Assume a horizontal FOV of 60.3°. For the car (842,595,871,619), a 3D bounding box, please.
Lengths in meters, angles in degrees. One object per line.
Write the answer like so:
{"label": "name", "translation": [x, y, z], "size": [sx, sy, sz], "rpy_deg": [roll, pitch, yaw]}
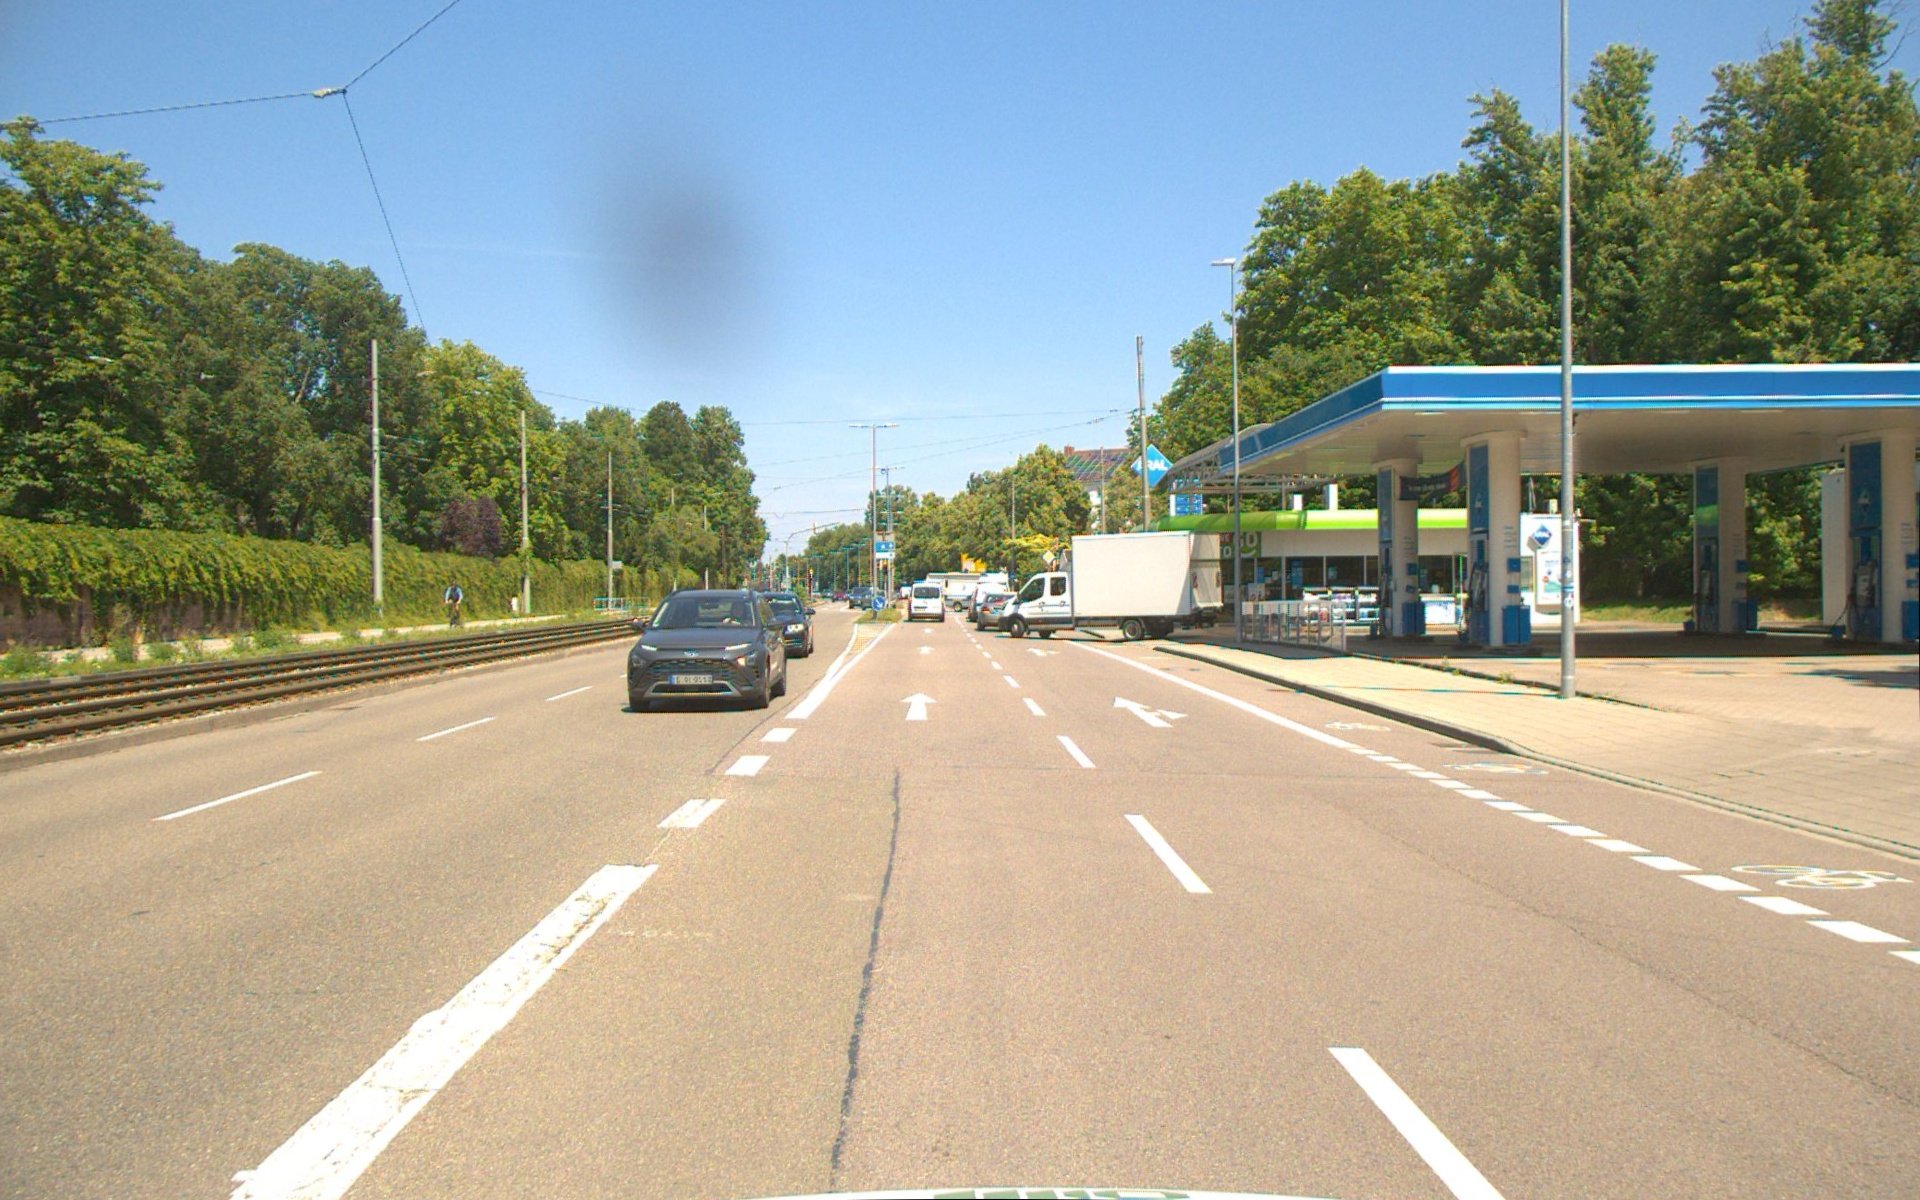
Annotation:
{"label": "car", "translation": [-8.411, 0.536, 133.923], "size": [1.957, 1.861, 4.531], "rpy_deg": [-1, 0, -9]}

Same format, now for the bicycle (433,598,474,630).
{"label": "bicycle", "translation": [-19.293, 0.537, 63.048], "size": [0.811, 1.176, 2.684], "rpy_deg": [0, 0, -2]}

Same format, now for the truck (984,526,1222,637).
{"label": "truck", "translation": [4.641, -0.571, 54.717], "size": [7.673, 3.451, 2.419], "rpy_deg": [0, 0, 35]}

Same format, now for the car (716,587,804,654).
{"label": "car", "translation": [-4.516, 0.433, 37.834], "size": [1.758, 1.424, 4.444], "rpy_deg": [0, 0, -4]}

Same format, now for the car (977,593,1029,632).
{"label": "car", "translation": [1.630, 0.447, 64.300], "size": [1.735, 1.445, 3.998], "rpy_deg": [0, 0, -2]}

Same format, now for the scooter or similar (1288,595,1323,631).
{"label": "scooter or similar", "translation": [11.719, 0.439, 56.103], "size": [1.112, 1.197, 0.384], "rpy_deg": [0, 0, -1]}

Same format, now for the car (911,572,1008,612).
{"label": "car", "translation": [-0.047, -0.497, 108.283], "size": [6.104, 2.560, 2.691], "rpy_deg": [0, 0, 39]}

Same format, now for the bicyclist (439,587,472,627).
{"label": "bicyclist", "translation": [-19.288, 0.246, 63.197], "size": [0.974, 1.512, 1.000], "rpy_deg": [0, 0, -2]}

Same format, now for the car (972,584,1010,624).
{"label": "car", "translation": [1.453, 0.163, 79.267], "size": [1.675, 1.862, 4.013], "rpy_deg": [0, 0, -1]}

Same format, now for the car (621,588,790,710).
{"label": "car", "translation": [-3.280, 0.609, 22.021], "size": [1.679, 1.447, 4.140], "rpy_deg": [0, -1, -1]}

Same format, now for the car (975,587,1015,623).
{"label": "car", "translation": [1.458, 0.204, 69.729], "size": [1.574, 1.477, 3.520], "rpy_deg": [0, 0, 0]}

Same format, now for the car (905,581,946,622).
{"label": "car", "translation": [-1.641, 0.077, 77.947], "size": [1.829, 1.868, 3.847], "rpy_deg": [1, 0, -2]}
